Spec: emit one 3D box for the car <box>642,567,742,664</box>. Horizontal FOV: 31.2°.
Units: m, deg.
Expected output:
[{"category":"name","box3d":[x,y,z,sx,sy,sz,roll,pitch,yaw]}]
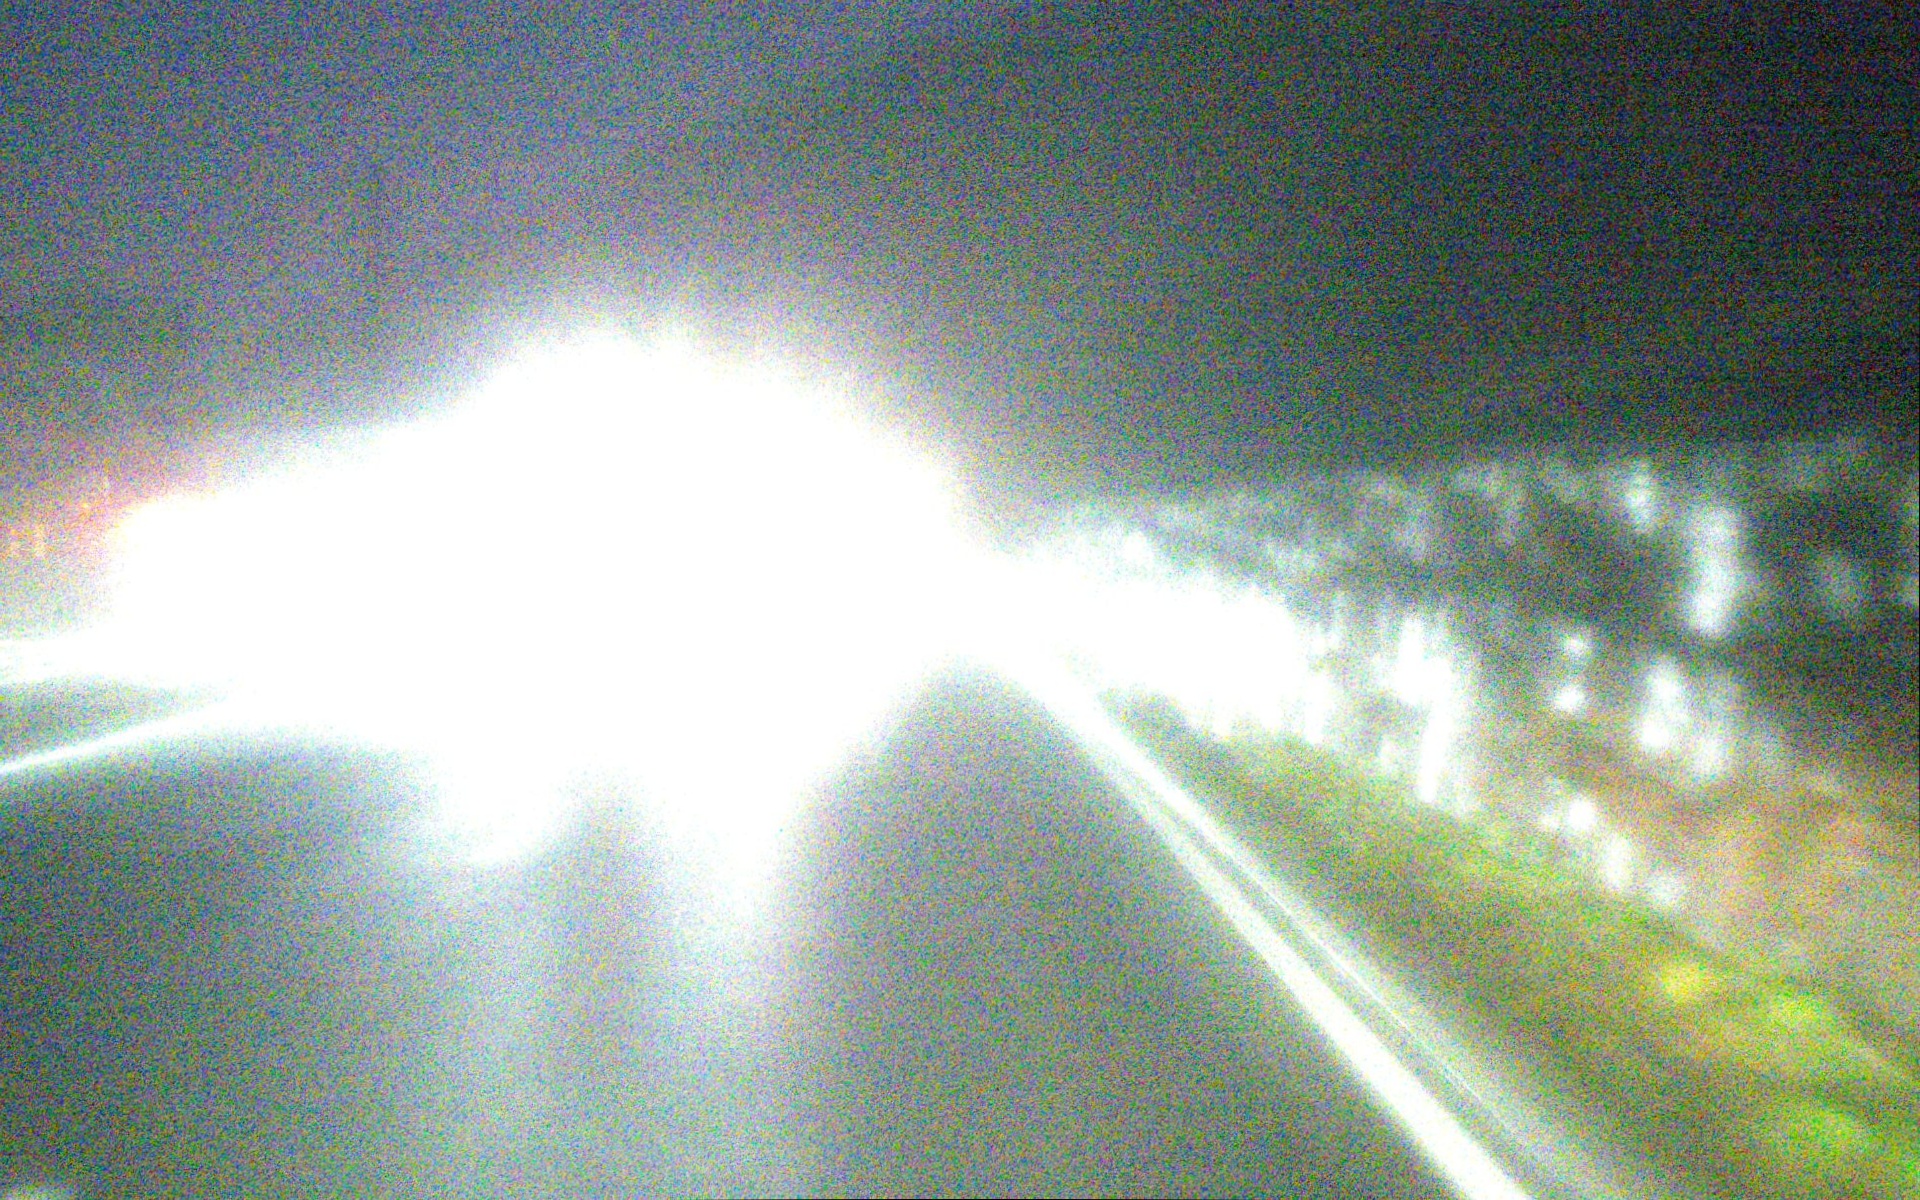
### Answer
[{"category":"car","box3d":[-6.040,0.361,77.829,1.993,2.007,4.000,4,-1,-2]}]
